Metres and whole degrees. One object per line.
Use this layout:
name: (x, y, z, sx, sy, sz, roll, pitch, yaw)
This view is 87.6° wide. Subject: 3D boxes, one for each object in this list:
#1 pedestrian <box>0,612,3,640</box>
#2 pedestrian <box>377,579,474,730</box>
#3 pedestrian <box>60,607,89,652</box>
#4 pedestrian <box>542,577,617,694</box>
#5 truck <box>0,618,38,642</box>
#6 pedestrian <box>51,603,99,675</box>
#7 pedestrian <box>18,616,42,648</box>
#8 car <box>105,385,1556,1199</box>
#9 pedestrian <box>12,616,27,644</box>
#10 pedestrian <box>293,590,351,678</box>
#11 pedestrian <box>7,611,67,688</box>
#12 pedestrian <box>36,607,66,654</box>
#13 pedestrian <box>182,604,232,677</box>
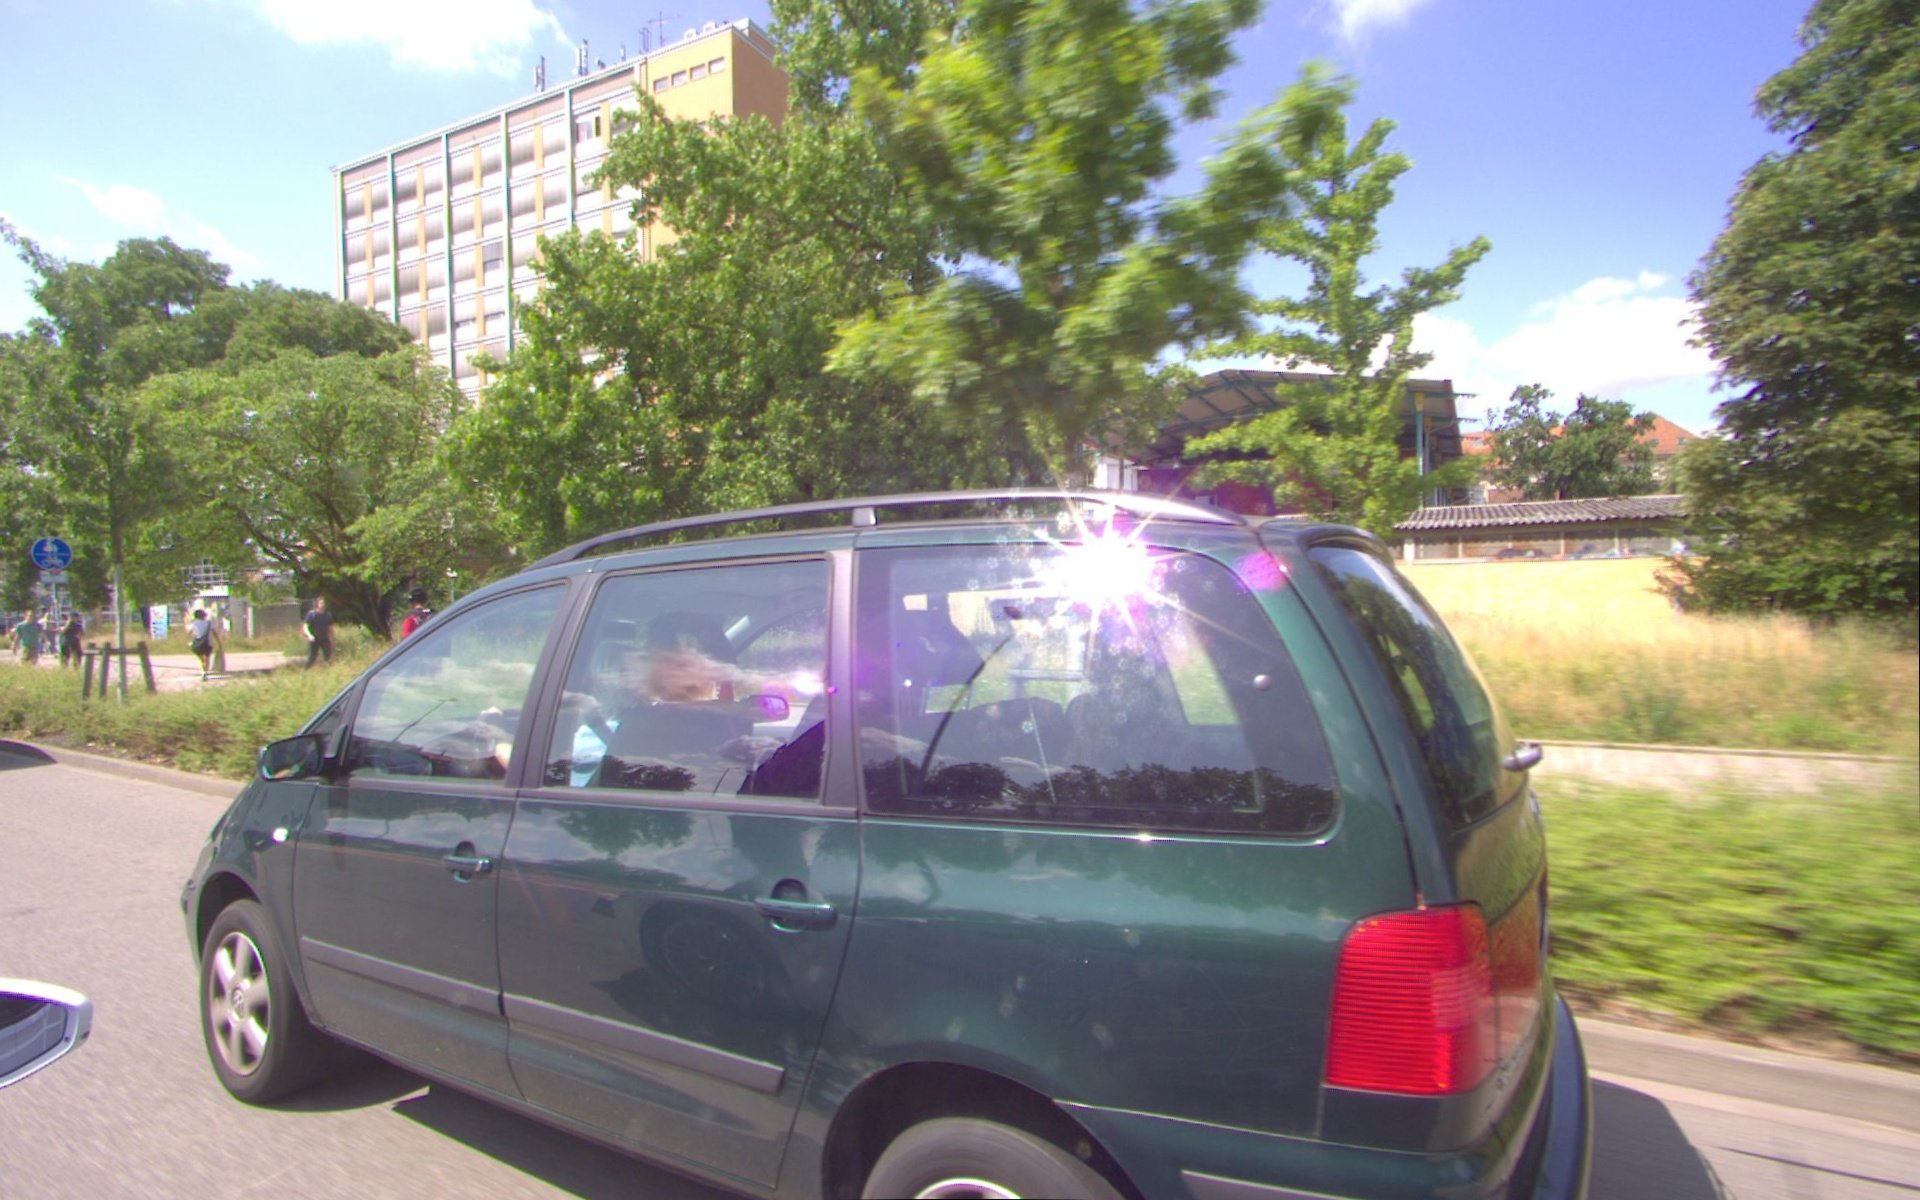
pedestrian: (-55.729, 1.499, 57.643, 0.751, 1.610, 0.754, -1, -2, 34)
pedestrian: (-6.547, 0.645, 12.275, 0.835, 1.773, 0.665, 0, 2, 32)
pedestrian: (-36.074, 1.193, 40.790, 0.602, 1.776, 0.746, 0, 2, 39)
pedestrian: (-6.000, 0.542, 15.797, 0.865, 1.773, 0.665, 0, 2, 32)
truck: (-116.595, 3.659, 121.717, 2.842, 2.889, 8.779, -1, 0, -15)
pedestrian: (-22.203, 0.973, 25.132, 0.600, 1.770, 0.666, 0, 2, 26)
pedestrian: (-54.677, 1.886, 58.854, 0.769, 1.846, 0.753, -1, 3, 34)
car: (-0.694, 0.669, 3.140, 4.384, 1.745, 1.791, -1, -2, 32)
pedestrian: (-56.496, 1.795, 60.160, 0.719, 1.646, 0.584, -1, -2, 40)
pedestrian: (-13.305, 0.695, 20.890, 0.657, 1.773, 0.747, 0, 2, 32)
pedestrian: (-22.388, 1.189, 24.294, 0.867, 1.802, 0.749, 0, 2, 26)
pedestrian: (-36.239, 1.199, 39.921, 0.602, 1.827, 0.746, 0, 2, 39)
pedestrian: (-17.158, 0.917, 22.821, 0.638, 1.618, 0.665, 0, 2, 32)
